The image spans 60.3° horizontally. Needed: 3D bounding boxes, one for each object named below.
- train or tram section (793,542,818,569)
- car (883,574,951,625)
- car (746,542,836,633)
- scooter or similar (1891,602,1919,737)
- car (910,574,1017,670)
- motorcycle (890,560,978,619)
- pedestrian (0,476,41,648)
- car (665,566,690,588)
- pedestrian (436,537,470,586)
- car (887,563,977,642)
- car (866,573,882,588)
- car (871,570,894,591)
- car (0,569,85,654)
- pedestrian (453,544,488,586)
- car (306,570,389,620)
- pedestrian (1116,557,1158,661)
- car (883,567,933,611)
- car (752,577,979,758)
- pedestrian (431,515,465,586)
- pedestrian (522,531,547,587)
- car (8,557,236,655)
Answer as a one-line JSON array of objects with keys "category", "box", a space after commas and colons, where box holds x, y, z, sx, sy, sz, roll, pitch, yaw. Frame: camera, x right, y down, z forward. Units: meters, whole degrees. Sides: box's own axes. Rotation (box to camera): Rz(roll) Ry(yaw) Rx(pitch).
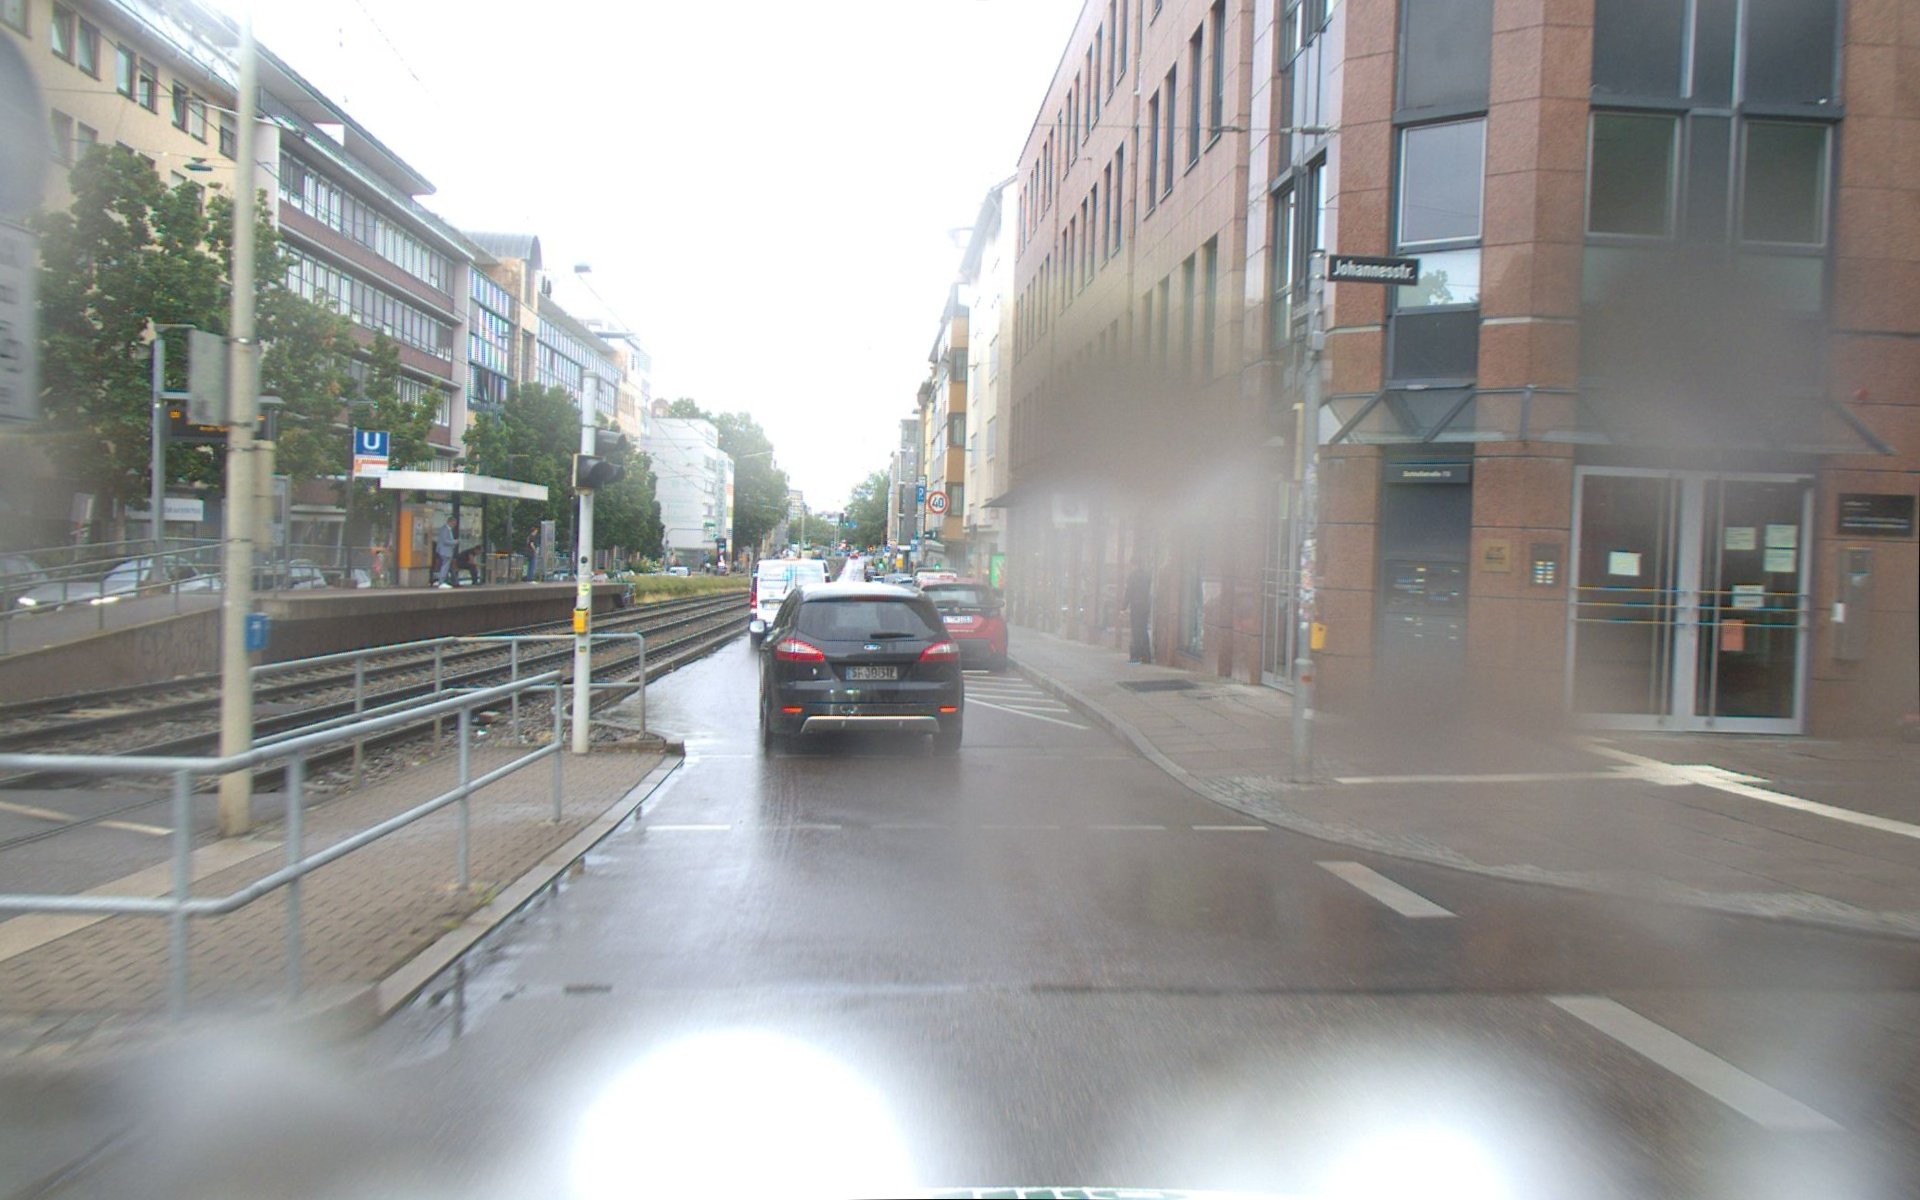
[{"category": "train or tram section", "box": [-22.817, -6.522, 243.840, 3.445, 3.843, 11.317, 0, 1, -6]}, {"category": "car", "box": [-1.360, -0.040, 50.937, 1.740, 1.494, 4.604, 0, 1, -6]}, {"category": "car", "box": [-3.855, -0.267, 37.263, 1.870, 1.897, 4.566, 1, 0, -7]}, {"category": "scooter or similar", "box": [9.502, 0.648, 15.523, 1.346, 1.248, 0.325, 0, 0, -1]}, {"category": "car", "box": [0.000, 0.339, 28.389, 1.664, 1.505, 3.865, -1, 0, -2]}, {"category": "motorcycle", "box": [-0.643, -0.262, 41.034, 2.039, 1.432, 0.799, 0, 0, 15]}, {"category": "pedestrian", "box": [-12.005, -0.451, 19.959, 1.094, 2.049, 1.382, 0, 0, -4]}, {"category": "car", "box": [-24.738, -1.975, 145.009, 1.870, 1.897, 4.567, 1, 0, -7]}, {"category": "pedestrian", "box": [-13.378, -1.009, 43.652, 0.679, 1.271, 0.883, 1, 1, -6]}, {"category": "car", "box": [-0.623, 0.033, 33.829, 1.665, 1.487, 3.865, -1, 0, -3]}, {"category": "car", "box": [-10.311, -2.340, 199.284, 1.868, 1.662, 4.571, 1, 0, -3]}, {"category": "car", "box": [-6.415, -1.597, 136.954, 1.868, 1.662, 4.571, 1, 0, -3]}, {"category": "car", "box": [-17.482, 0.168, 29.536, 1.805, 1.461, 4.313, 0, 1, -7]}, {"category": "pedestrian", "box": [-13.553, -0.967, 45.793, 0.877, 1.143, 0.847, 0, 1, -14]}, {"category": "car", "box": [-18.857, -0.176, 51.067, 1.538, 1.461, 3.731, 0, 1, -7]}, {"category": "pedestrian", "box": [2.885, 0.144, 26.988, 0.589, 1.688, 0.625, 0, 0, -3]}, {"category": "car", "box": [-2.096, -0.451, 65.651, 1.771, 1.660, 5.165, 0, 1, -4]}, {"category": "car", "box": [-0.873, 0.561, 15.511, 1.868, 1.488, 3.443, 1, 0, -3]}, {"category": "pedestrian", "box": [-12.808, -1.229, 41.375, 0.643, 1.741, 0.849, 1, 1, -6]}, {"category": "pedestrian", "box": [-14.059, -1.357, 54.642, 0.643, 1.833, 0.849, 1, 1, -6]}, {"category": "car", "box": [-14.946, 0.057, 29.844, 1.771, 1.605, 5.018, 0, 1, -3]}]
